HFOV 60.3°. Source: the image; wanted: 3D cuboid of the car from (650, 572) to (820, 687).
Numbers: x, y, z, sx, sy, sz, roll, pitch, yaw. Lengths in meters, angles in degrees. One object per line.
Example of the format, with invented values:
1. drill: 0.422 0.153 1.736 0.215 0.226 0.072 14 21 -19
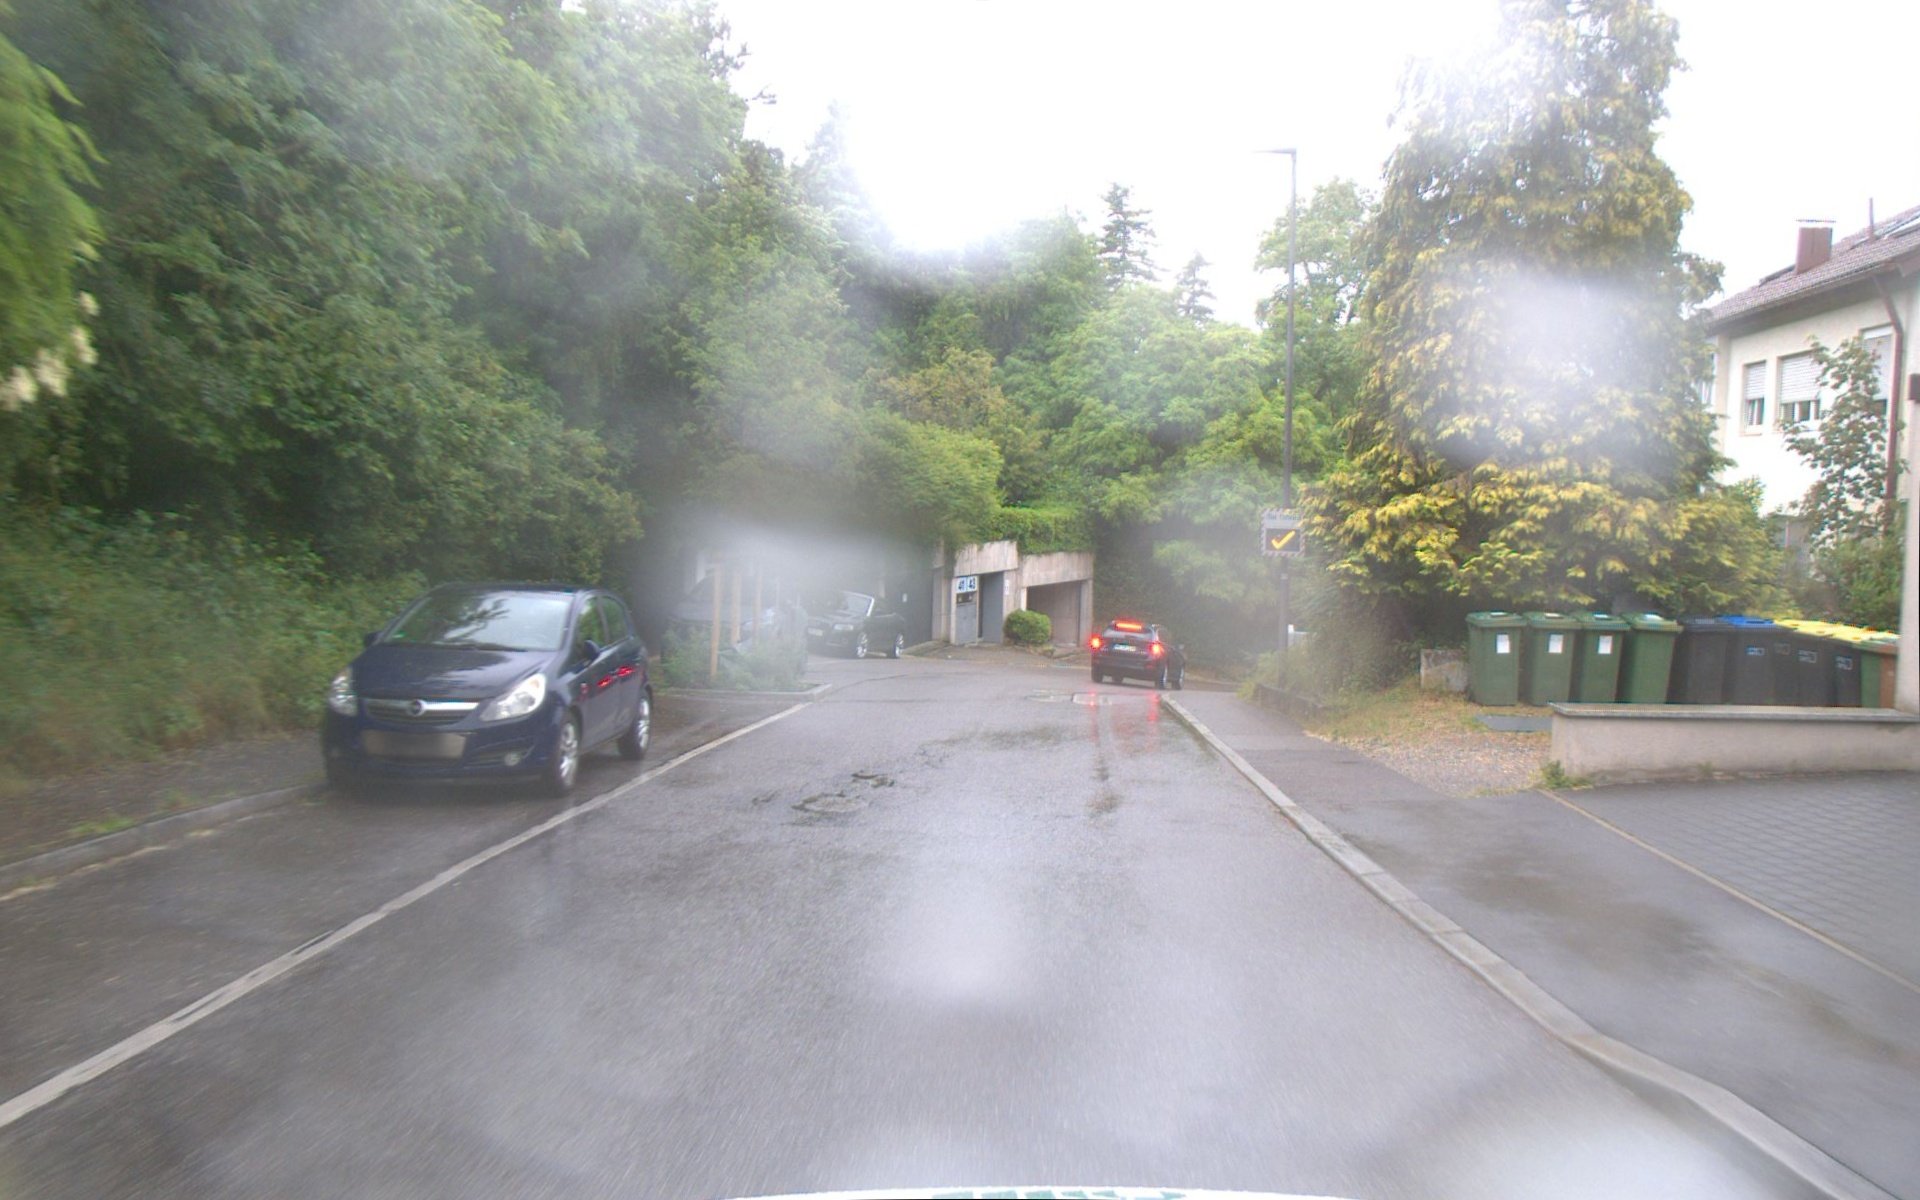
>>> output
1. car: -3.553 0.435 26.834 1.952 1.669 4.002 1 0 3

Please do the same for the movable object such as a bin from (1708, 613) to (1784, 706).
1. movable object such as a bin: 9.406 0.706 19.806 0.569 1.085 0.702 0 0 0

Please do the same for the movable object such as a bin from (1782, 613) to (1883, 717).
1. movable object such as a bin: 10.189 0.753 19.327 0.797 1.084 0.709 -3 5 0

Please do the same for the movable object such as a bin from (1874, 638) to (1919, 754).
1. movable object such as a bin: 10.118 0.982 17.278 0.748 1.084 0.709 -3 5 0

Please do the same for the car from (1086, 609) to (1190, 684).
1. car: 4.279 1.112 39.285 1.829 1.538 4.095 4 -1 14

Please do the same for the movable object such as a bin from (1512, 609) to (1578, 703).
1. movable object such as a bin: 6.952 0.656 19.683 0.535 1.085 0.692 0 0 0

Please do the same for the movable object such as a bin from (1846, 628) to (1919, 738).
1. movable object such as a bin: 10.172 0.895 18.014 0.726 1.081 0.583 -3 5 0

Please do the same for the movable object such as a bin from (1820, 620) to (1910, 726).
1. movable object such as a bin: 10.194 0.811 18.642 0.685 1.084 0.583 -3 5 0

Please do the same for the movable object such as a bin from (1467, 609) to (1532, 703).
1. movable object such as a bin: 6.408 0.658 19.678 0.549 1.085 0.702 0 0 1

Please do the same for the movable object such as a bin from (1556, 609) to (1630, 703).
1. movable object such as a bin: 7.532 0.657 19.689 0.613 1.085 0.702 0 0 0

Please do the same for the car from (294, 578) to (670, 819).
1. car: -3.412 0.604 12.601 1.665 1.497 4.000 1 1 0

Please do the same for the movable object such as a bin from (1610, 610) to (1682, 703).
1. movable object such as a bin: 8.201 0.662 19.804 0.569 1.085 0.702 0 0 0

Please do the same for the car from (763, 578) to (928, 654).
1. car: -2.438 0.333 36.547 1.952 1.534 4.571 1 0 20

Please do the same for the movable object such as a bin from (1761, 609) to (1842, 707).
1. movable object such as a bin: 10.193 0.697 20.041 0.685 1.084 0.583 -3 5 0

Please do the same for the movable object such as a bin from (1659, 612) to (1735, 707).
1. movable object such as a bin: 8.800 0.704 19.770 0.589 1.105 0.702 0 0 0
